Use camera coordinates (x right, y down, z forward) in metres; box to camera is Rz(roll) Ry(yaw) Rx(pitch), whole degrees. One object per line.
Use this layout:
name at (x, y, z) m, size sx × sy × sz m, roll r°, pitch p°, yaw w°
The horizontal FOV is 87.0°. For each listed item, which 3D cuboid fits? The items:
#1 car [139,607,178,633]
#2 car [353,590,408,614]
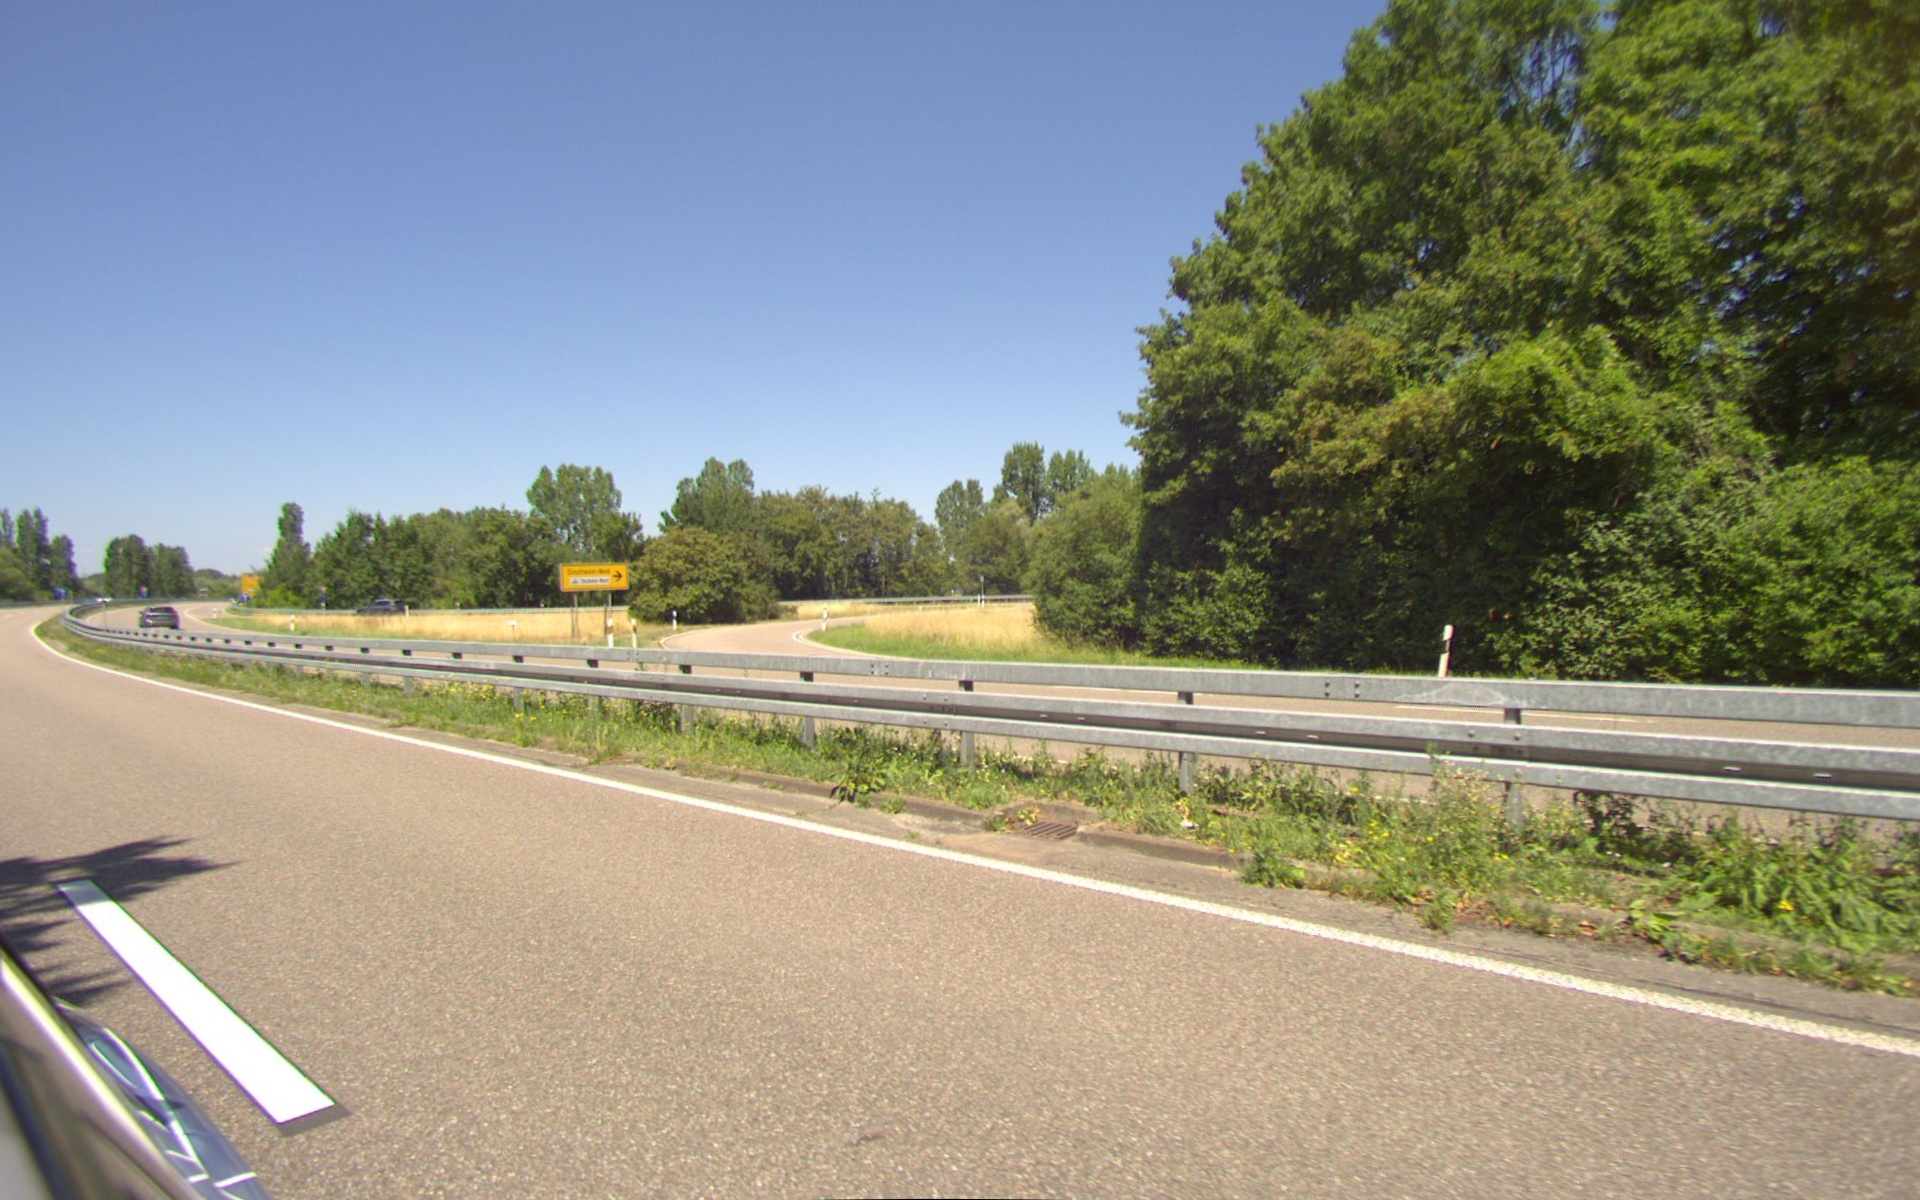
car at (-53.569, 1.326, 67.629) m, size 1.802 × 1.630 × 4.546 m, roll 0°, pitch -1°, yaw -42°
car at (-52.337, 0.185, 91.467) m, size 3.960 × 2.028 × 1.992 m, roll -1°, pitch 2°, yaw 13°
